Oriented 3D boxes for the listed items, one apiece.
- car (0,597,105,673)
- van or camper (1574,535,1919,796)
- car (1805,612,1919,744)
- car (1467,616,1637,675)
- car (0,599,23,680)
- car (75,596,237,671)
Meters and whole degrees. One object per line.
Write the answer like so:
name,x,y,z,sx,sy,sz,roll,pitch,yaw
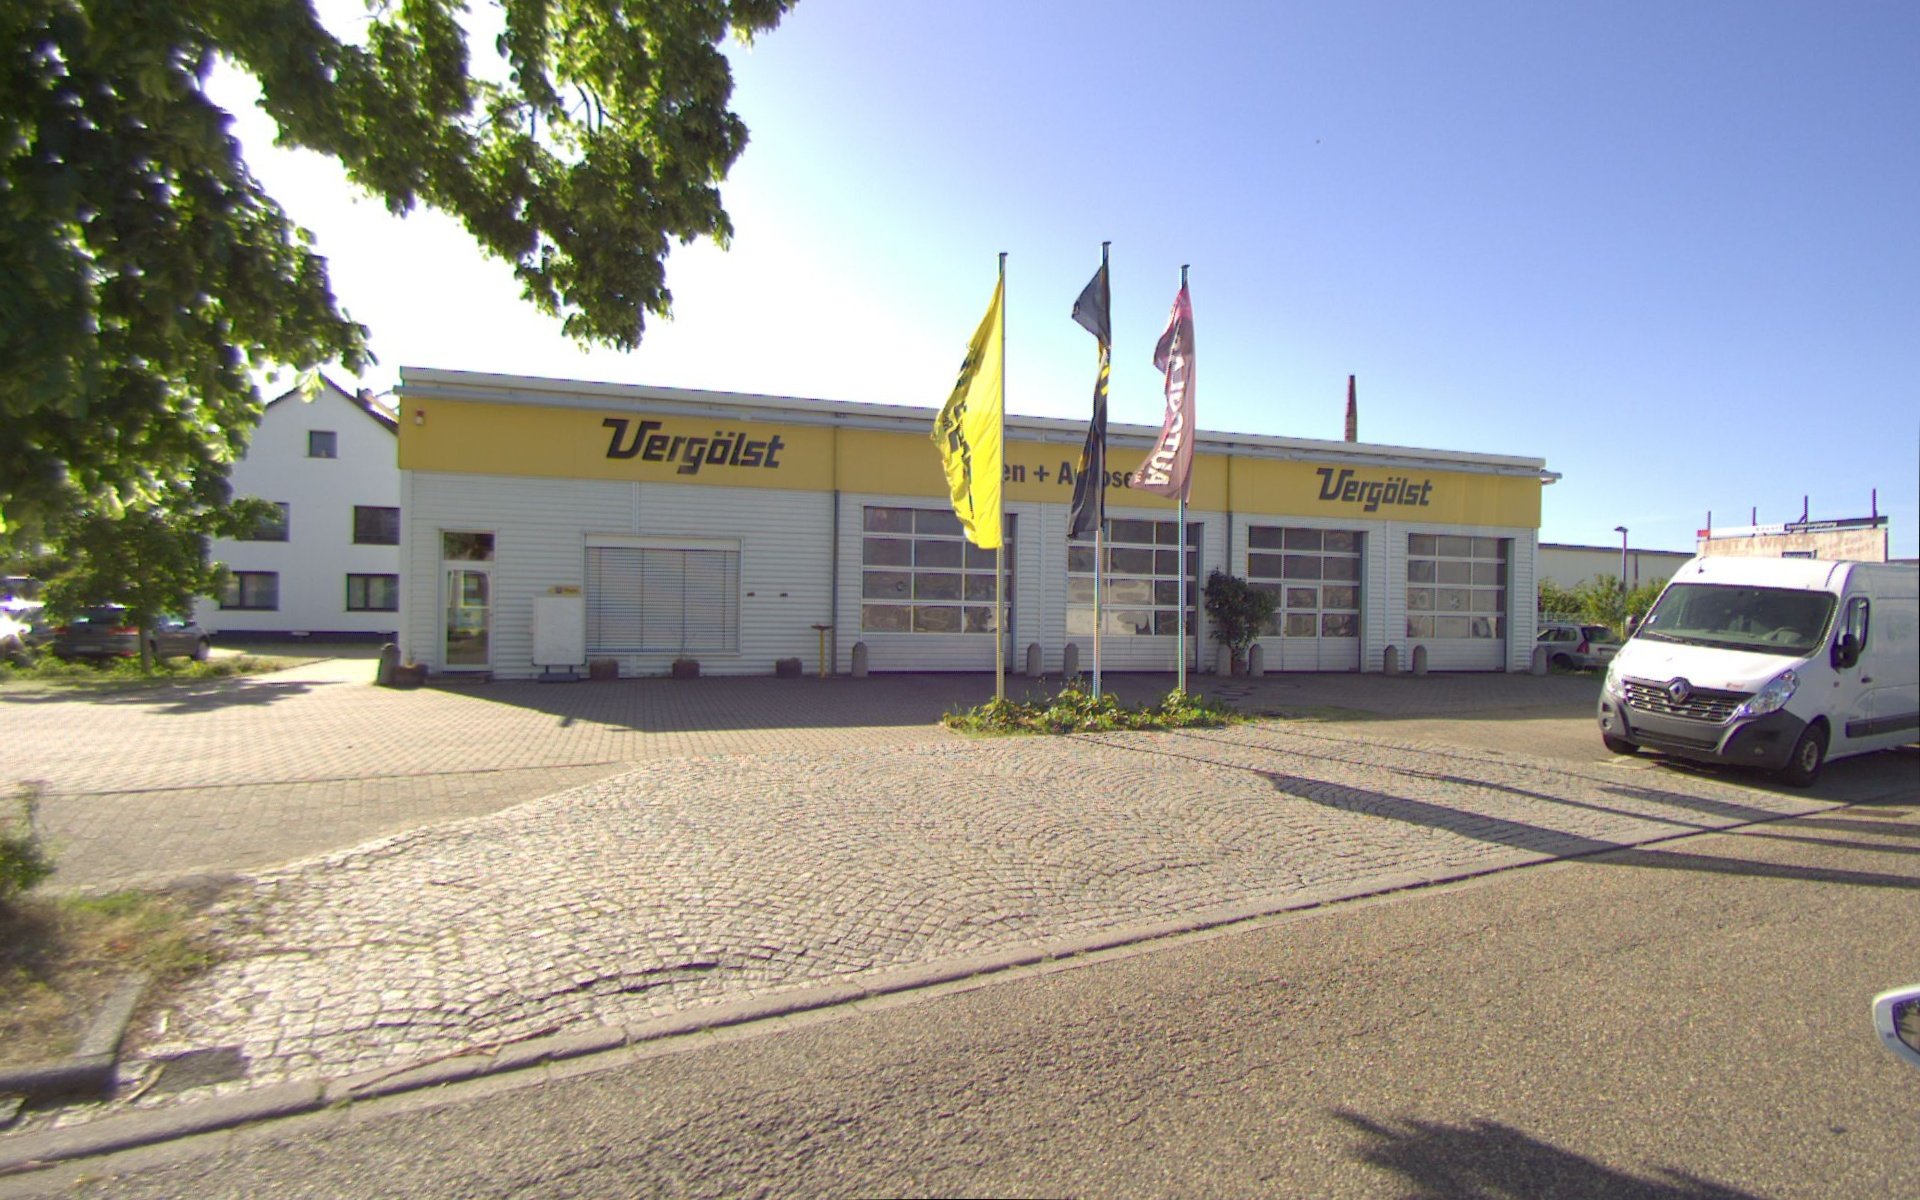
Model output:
car,-22.144,0.766,23.556,1.746,1.660,4.056,1,-1,-18
van or camper,10.500,0.650,12.533,6.331,2.584,2.059,1,3,-32
car,15.225,1.153,15.311,4.517,1.761,1.985,1,3,-28
car,17.561,1.310,30.024,1.887,1.595,4.152,1,-1,-20
car,-18.590,0.727,17.211,1.969,1.528,4.440,1,-1,-18
car,-19.430,0.764,24.500,1.746,1.660,4.056,1,-1,-18
